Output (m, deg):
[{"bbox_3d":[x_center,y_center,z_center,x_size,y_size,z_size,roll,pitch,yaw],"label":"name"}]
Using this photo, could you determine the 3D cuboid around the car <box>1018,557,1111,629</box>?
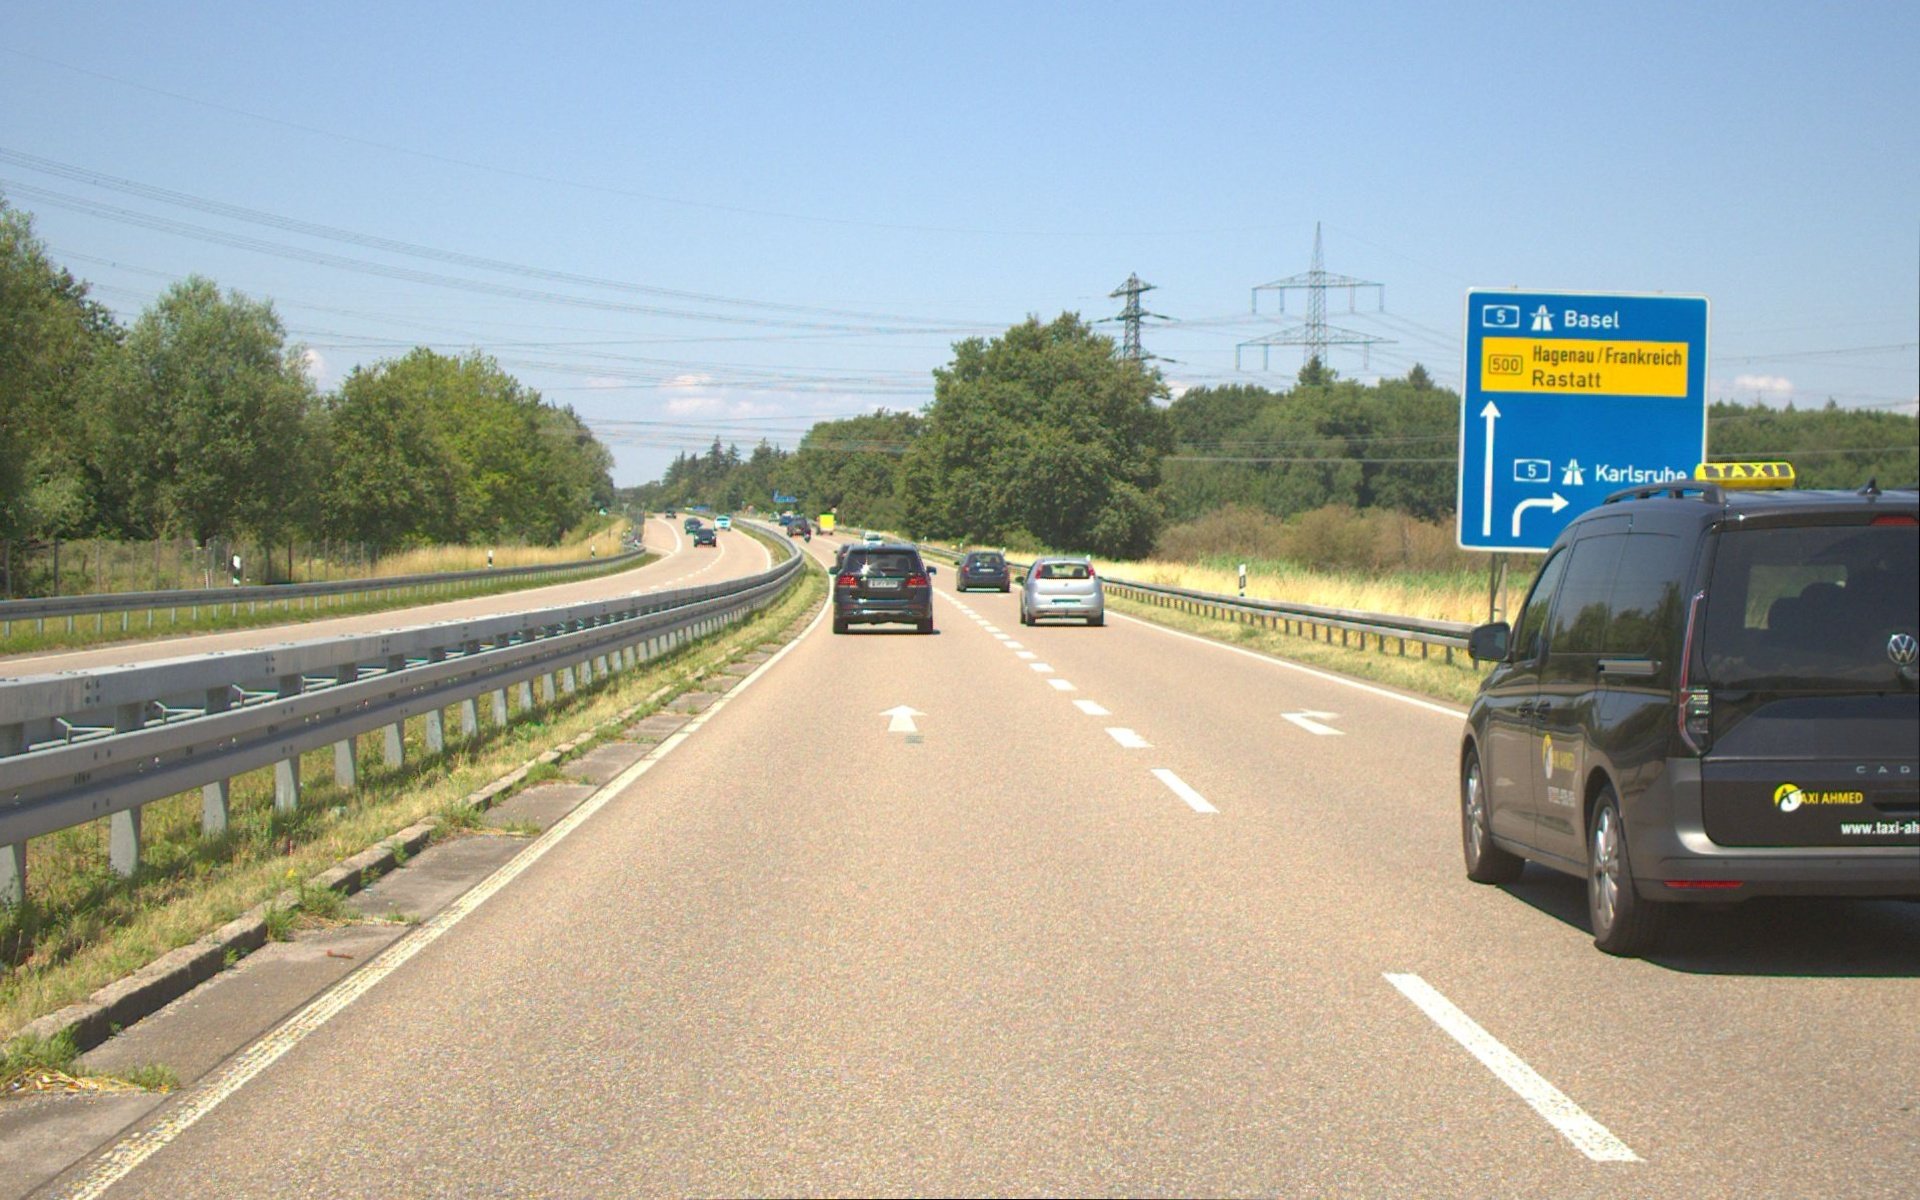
[{"bbox_3d":[2.236,-0.172,74.693,1.779,1.474,4.316,2,1,-1],"label":"car"}]

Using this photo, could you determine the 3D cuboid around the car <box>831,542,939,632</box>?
[{"bbox_3d":[-1.453,-0.269,67.011,1.993,1.649,4.000,2,1,-1],"label":"car"}]

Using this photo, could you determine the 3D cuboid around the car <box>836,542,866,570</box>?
[{"bbox_3d":[-5.892,-2.368,185.908,1.514,1.470,3.066,2,1,-3],"label":"car"}]

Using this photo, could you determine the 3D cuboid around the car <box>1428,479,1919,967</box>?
[{"bbox_3d":[3.278,0.438,14.967,1.779,1.810,4.213,1,1,-1],"label":"car"}]

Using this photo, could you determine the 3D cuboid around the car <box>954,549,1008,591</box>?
[{"bbox_3d":[0.735,-1.066,121.485,1.819,1.409,4.000,2,1,0],"label":"car"}]
